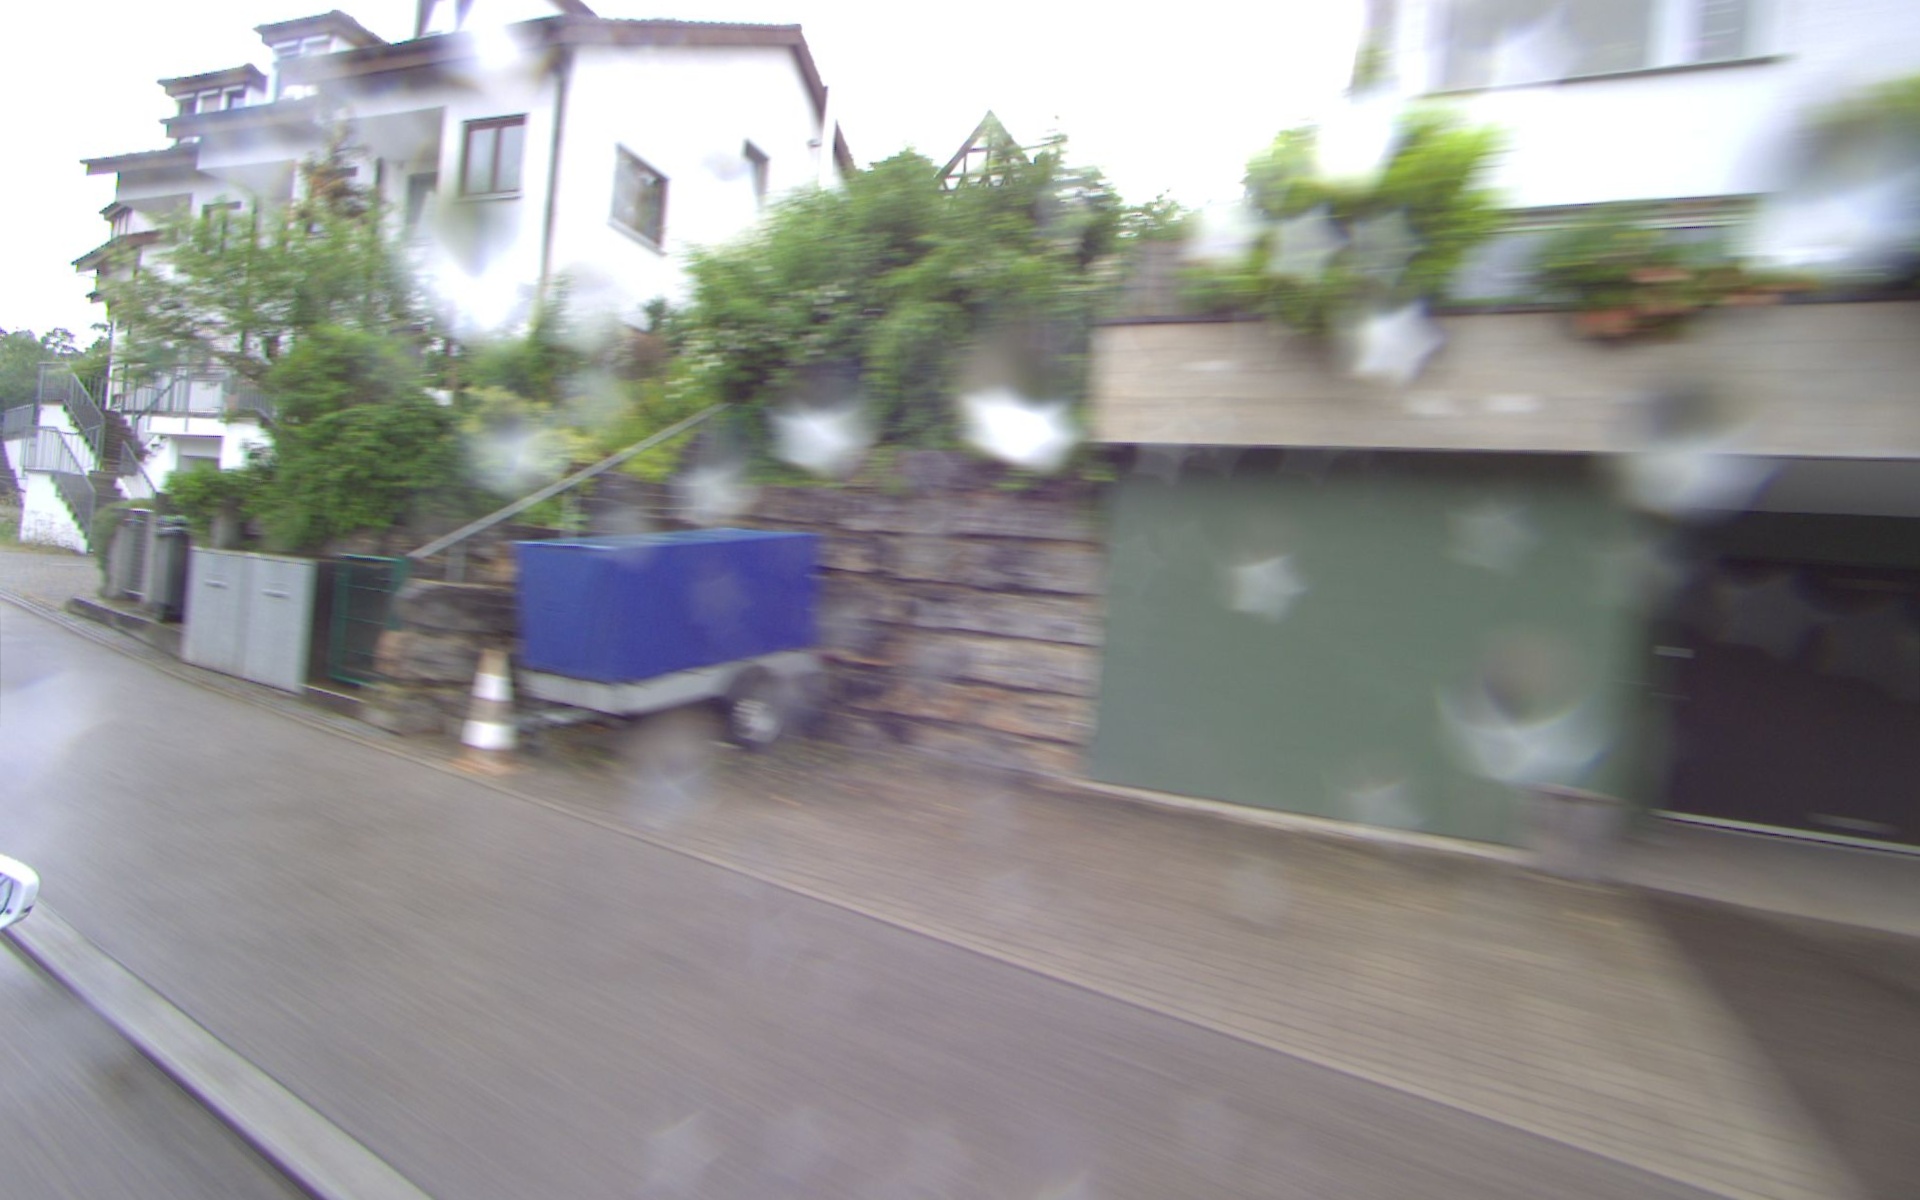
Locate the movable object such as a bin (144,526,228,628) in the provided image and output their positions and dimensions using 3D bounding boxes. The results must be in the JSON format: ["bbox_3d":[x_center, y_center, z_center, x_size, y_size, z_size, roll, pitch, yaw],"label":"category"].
[{"bbox_3d":[-7.702,-0.225,10.013,0.450,0.934,0.492,7,1,36],"label":"movable object such as a bin"}]

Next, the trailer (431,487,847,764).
[{"bbox_3d":[-2.508,0.197,8.156,1.967,1.769,2.357,7,0,32],"label":"trailer"}]

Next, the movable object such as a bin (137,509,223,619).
[{"bbox_3d":[-8.147,-0.377,10.508,0.567,1.060,0.492,7,1,36],"label":"movable object such as a bin"}]
